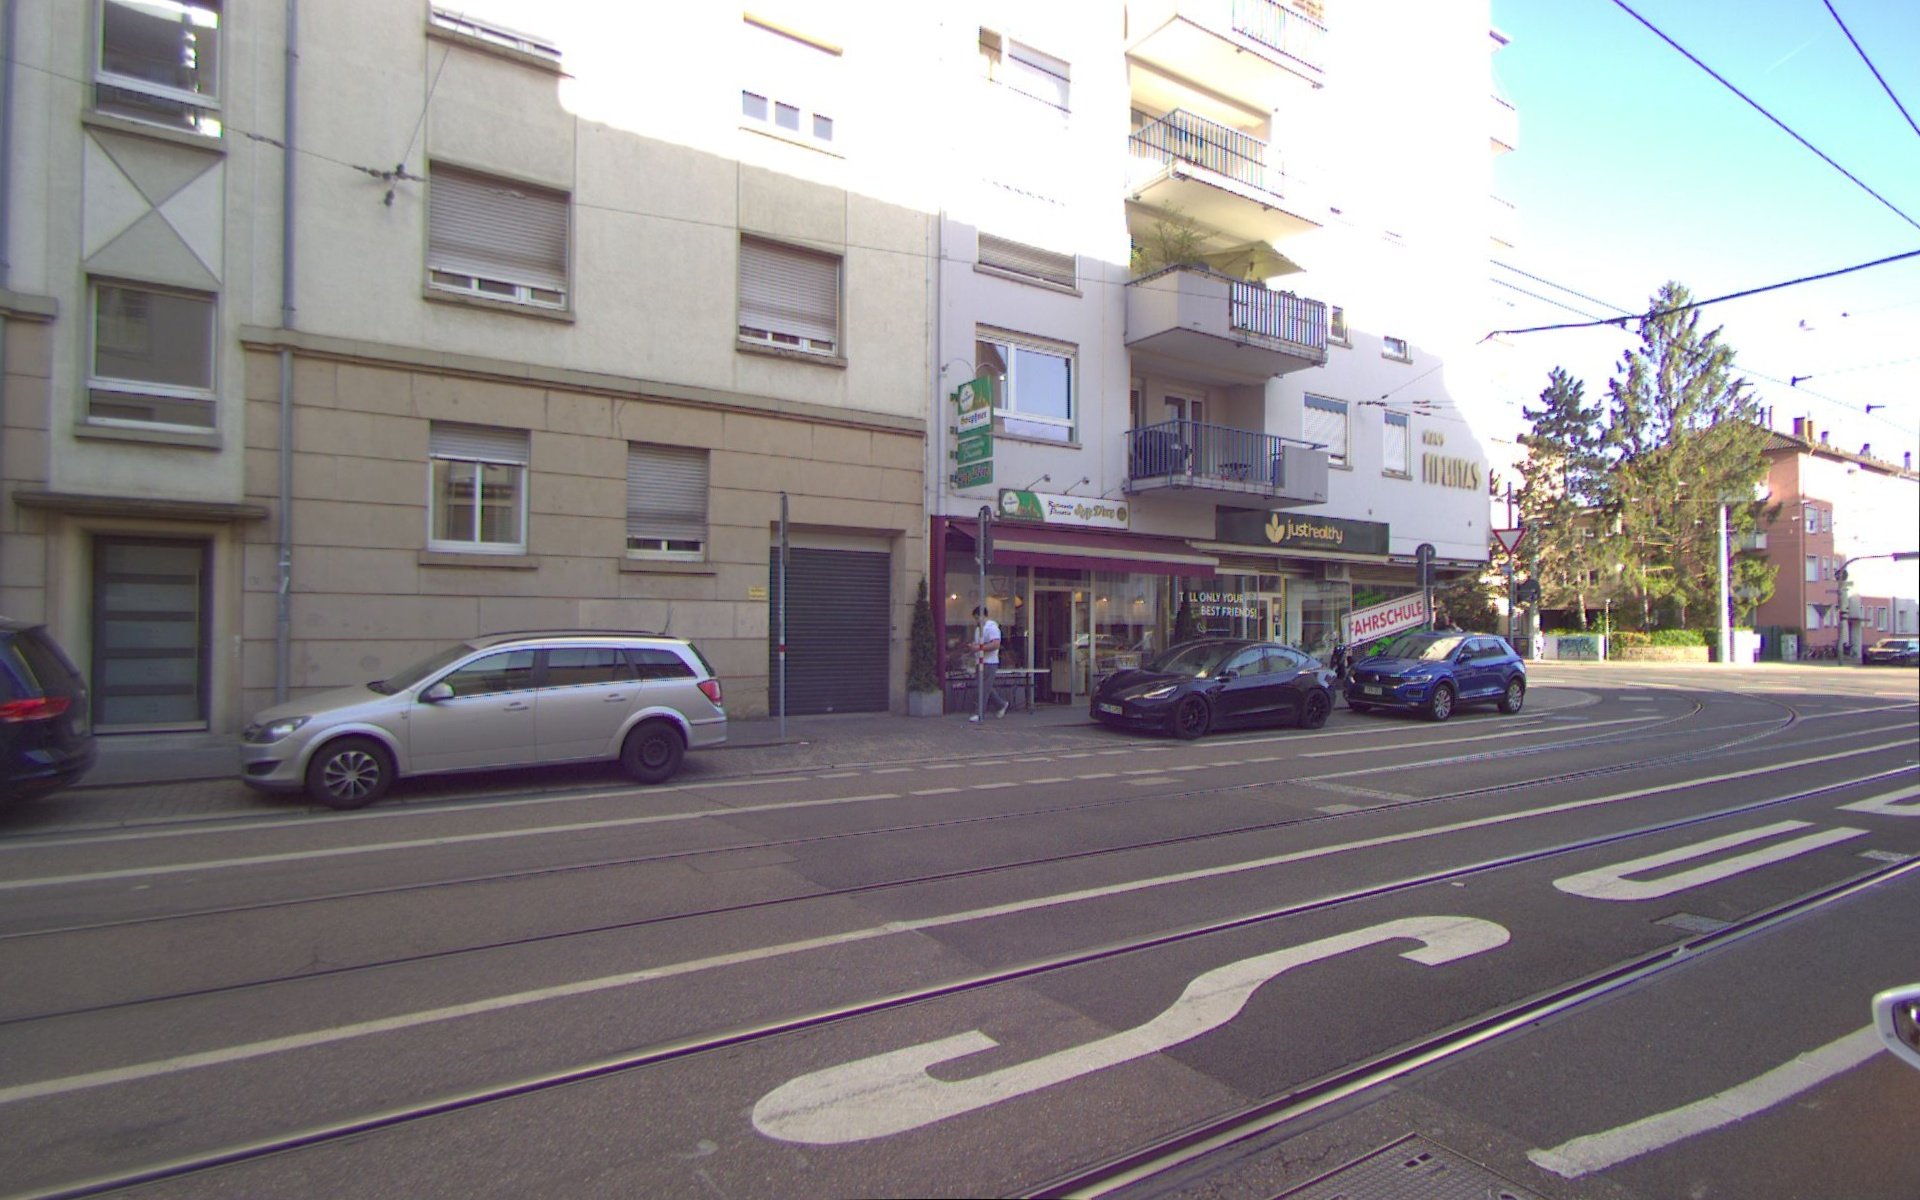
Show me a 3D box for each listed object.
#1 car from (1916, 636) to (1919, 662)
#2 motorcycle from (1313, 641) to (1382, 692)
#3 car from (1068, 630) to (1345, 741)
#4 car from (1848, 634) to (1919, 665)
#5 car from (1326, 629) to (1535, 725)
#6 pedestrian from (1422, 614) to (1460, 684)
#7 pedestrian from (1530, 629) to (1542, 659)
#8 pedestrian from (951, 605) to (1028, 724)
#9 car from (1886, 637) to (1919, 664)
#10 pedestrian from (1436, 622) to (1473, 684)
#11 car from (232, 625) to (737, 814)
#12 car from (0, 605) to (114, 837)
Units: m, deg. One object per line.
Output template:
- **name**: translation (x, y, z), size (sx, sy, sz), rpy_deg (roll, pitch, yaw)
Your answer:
- **car**: translation (58.354, 2.943, 59.429), size (4.185, 1.546, 1.731), rpy_deg (2, 0, -34)
- **motorcycle**: translation (9.230, 1.567, 23.894), size (1.778, 1.149, 0.603), rpy_deg (2, 0, -34)
- **car**: translation (4.000, 1.287, 16.052), size (4.398, 1.494, 1.759), rpy_deg (2, 0, -33)
- **car**: translation (49.727, 2.649, 53.881), size (4.397, 1.450, 2.140), rpy_deg (4, -1, -35)
- **car**: translation (8.977, 1.373, 19.073), size (4.196, 1.524, 1.757), rpy_deg (0, 1, -36)
- **pedestrian**: translation (13.645, 1.383, 28.518), size (0.727, 1.925, 0.573), rpy_deg (3, -2, -15)
- **pedestrian**: translation (31.718, 2.412, 55.346), size (0.509, 1.589, 0.572), rpy_deg (2, 0, 33)
- **pedestrian**: translation (0.471, 0.995, 15.837), size (0.998, 1.791, 0.656), rpy_deg (2, 0, -40)
- **car**: translation (54.133, 2.855, 56.558), size (4.057, 1.456, 1.893), rpy_deg (2, 0, -32)
- **pedestrian**: translation (14.783, 1.580, 30.037), size (0.653, 1.816, 0.733), rpy_deg (1, -1, -27)
- **car**: translation (-4.648, 1.058, 10.175), size (4.327, 1.474, 1.714), rpy_deg (2, 1, -35)
- **car**: translation (-9.000, 0.858, 7.195), size (4.282, 1.655, 1.802), rpy_deg (2, 1, -35)
